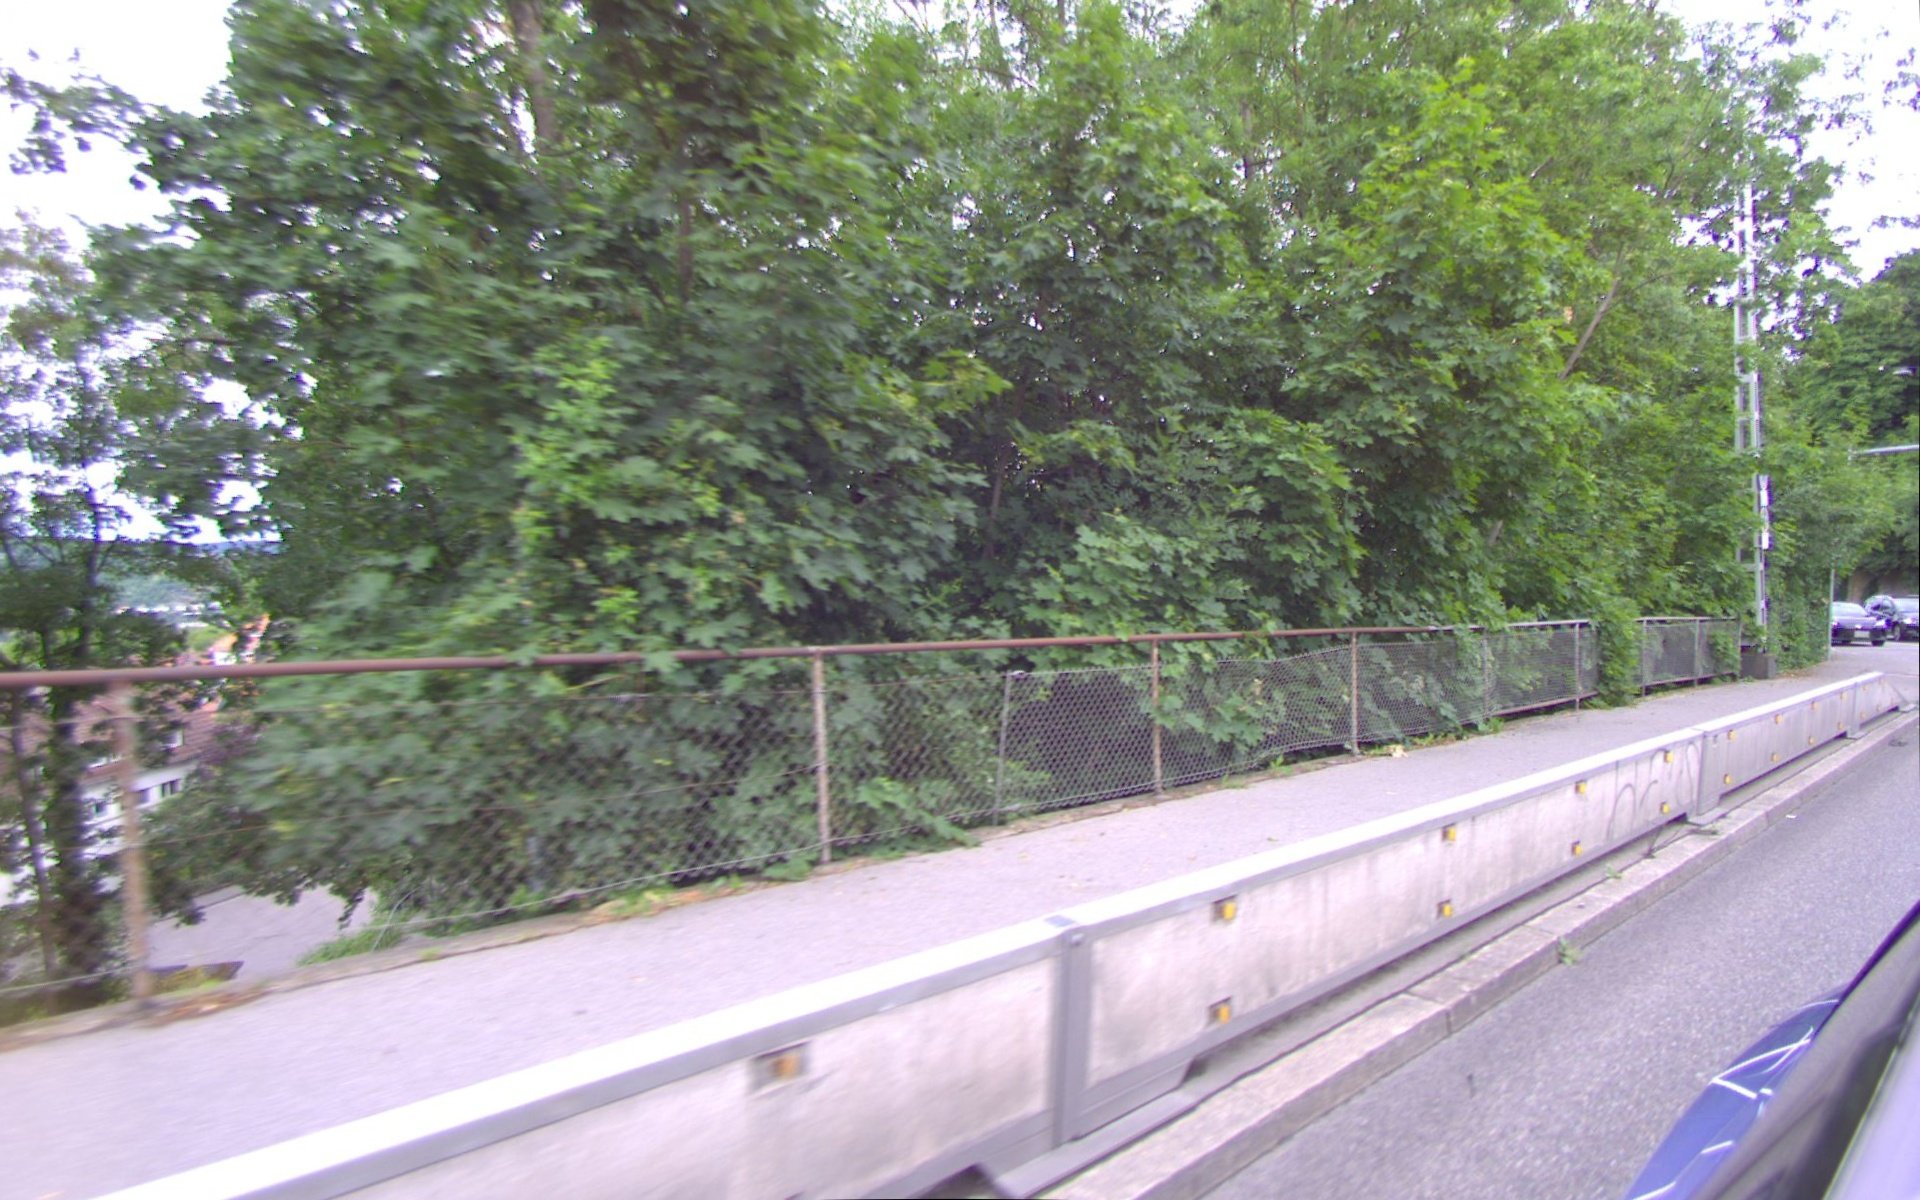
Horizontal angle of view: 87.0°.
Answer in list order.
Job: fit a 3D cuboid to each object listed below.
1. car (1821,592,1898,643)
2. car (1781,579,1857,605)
[{"bbox_3d":[30.951,0.576,34.918,1.770,1.561,3.944,-2,0,39],"label":"car"},{"bbox_3d":[54.907,-0.487,64.764,1.690,1.548,4.288,-2,0,10],"label":"car"}]
